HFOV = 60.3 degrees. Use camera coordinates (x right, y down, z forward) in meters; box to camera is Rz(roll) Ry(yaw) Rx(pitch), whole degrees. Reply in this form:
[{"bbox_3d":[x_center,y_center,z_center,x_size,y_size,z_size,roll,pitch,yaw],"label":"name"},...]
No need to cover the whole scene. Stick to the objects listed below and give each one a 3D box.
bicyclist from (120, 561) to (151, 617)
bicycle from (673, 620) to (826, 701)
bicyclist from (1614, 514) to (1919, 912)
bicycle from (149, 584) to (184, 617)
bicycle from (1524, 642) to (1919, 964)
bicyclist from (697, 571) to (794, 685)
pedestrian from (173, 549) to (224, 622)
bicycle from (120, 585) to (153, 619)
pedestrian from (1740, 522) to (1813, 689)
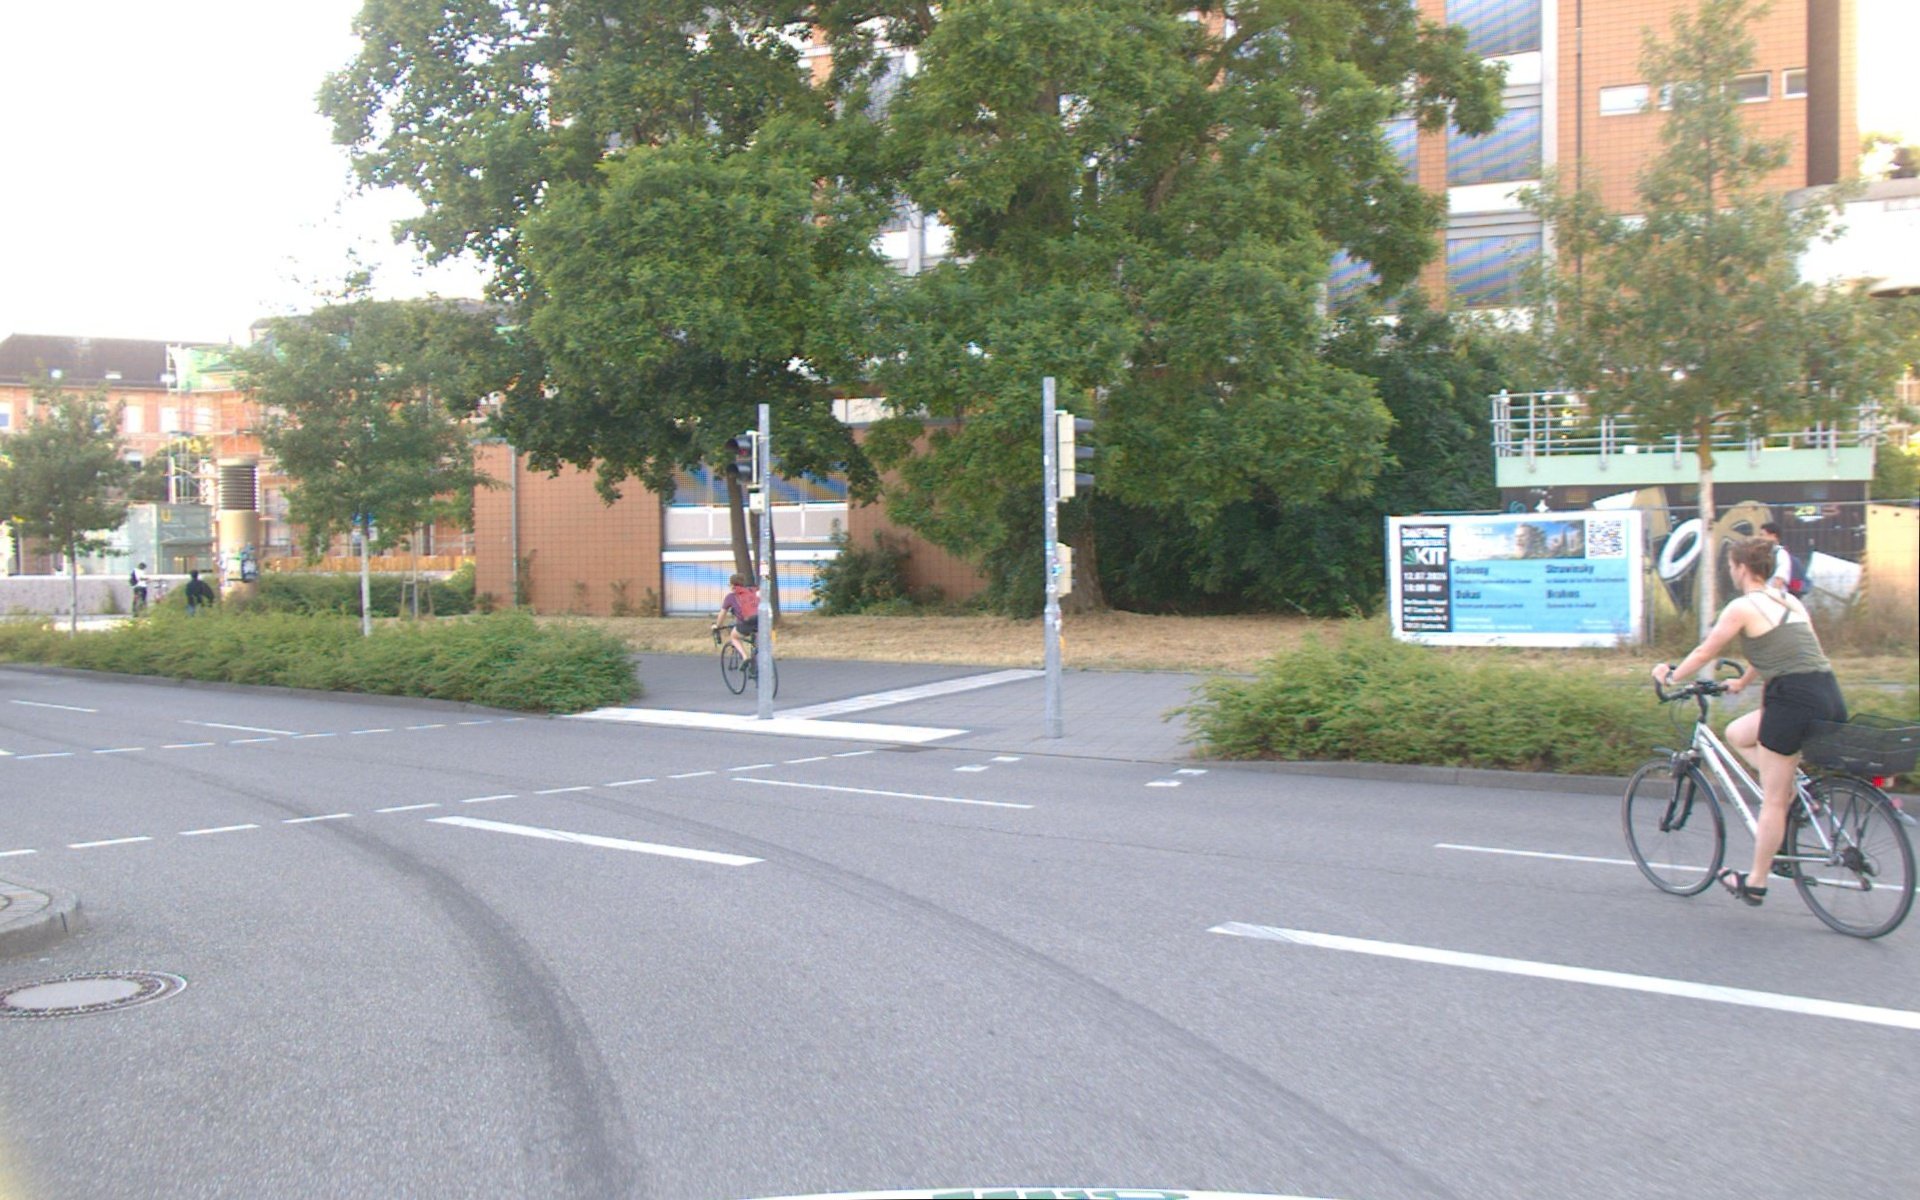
[{"bbox_3d":[-27.619,-0.364,55.386,0.779,1.817,0.884,-4,2,-32],"label":"bicyclist"},{"bbox_3d":[-2.701,0.758,21.075,2.211,0.969,0.717,-1,-1,44],"label":"bicycle"},{"bbox_3d":[3.768,0.464,7.740,0.769,1.706,1.084,-2,2,-27],"label":"bicyclist"},{"bbox_3d":[-26.935,-0.003,56.161,0.616,1.056,1.956,-3,2,-14],"label":"bicycle"},{"bbox_3d":[3.773,0.849,7.748,0.768,1.176,2.272,-2,2,-26],"label":"bicycle"},{"bbox_3d":[-2.736,0.351,21.103,1.057,1.408,0.717,-1,-1,44],"label":"bicyclist"},{"bbox_3d":[-18.109,-0.355,39.335,0.776,1.687,0.804,1,2,41],"label":"pedestrian"},{"bbox_3d":[-27.622,0.066,55.443,0.781,1.057,1.942,-4,2,-31],"label":"bicycle"},{"bbox_3d":[8.677,0.044,17.576,0.617,1.728,0.621,0,1,33],"label":"pedestrian"}]
